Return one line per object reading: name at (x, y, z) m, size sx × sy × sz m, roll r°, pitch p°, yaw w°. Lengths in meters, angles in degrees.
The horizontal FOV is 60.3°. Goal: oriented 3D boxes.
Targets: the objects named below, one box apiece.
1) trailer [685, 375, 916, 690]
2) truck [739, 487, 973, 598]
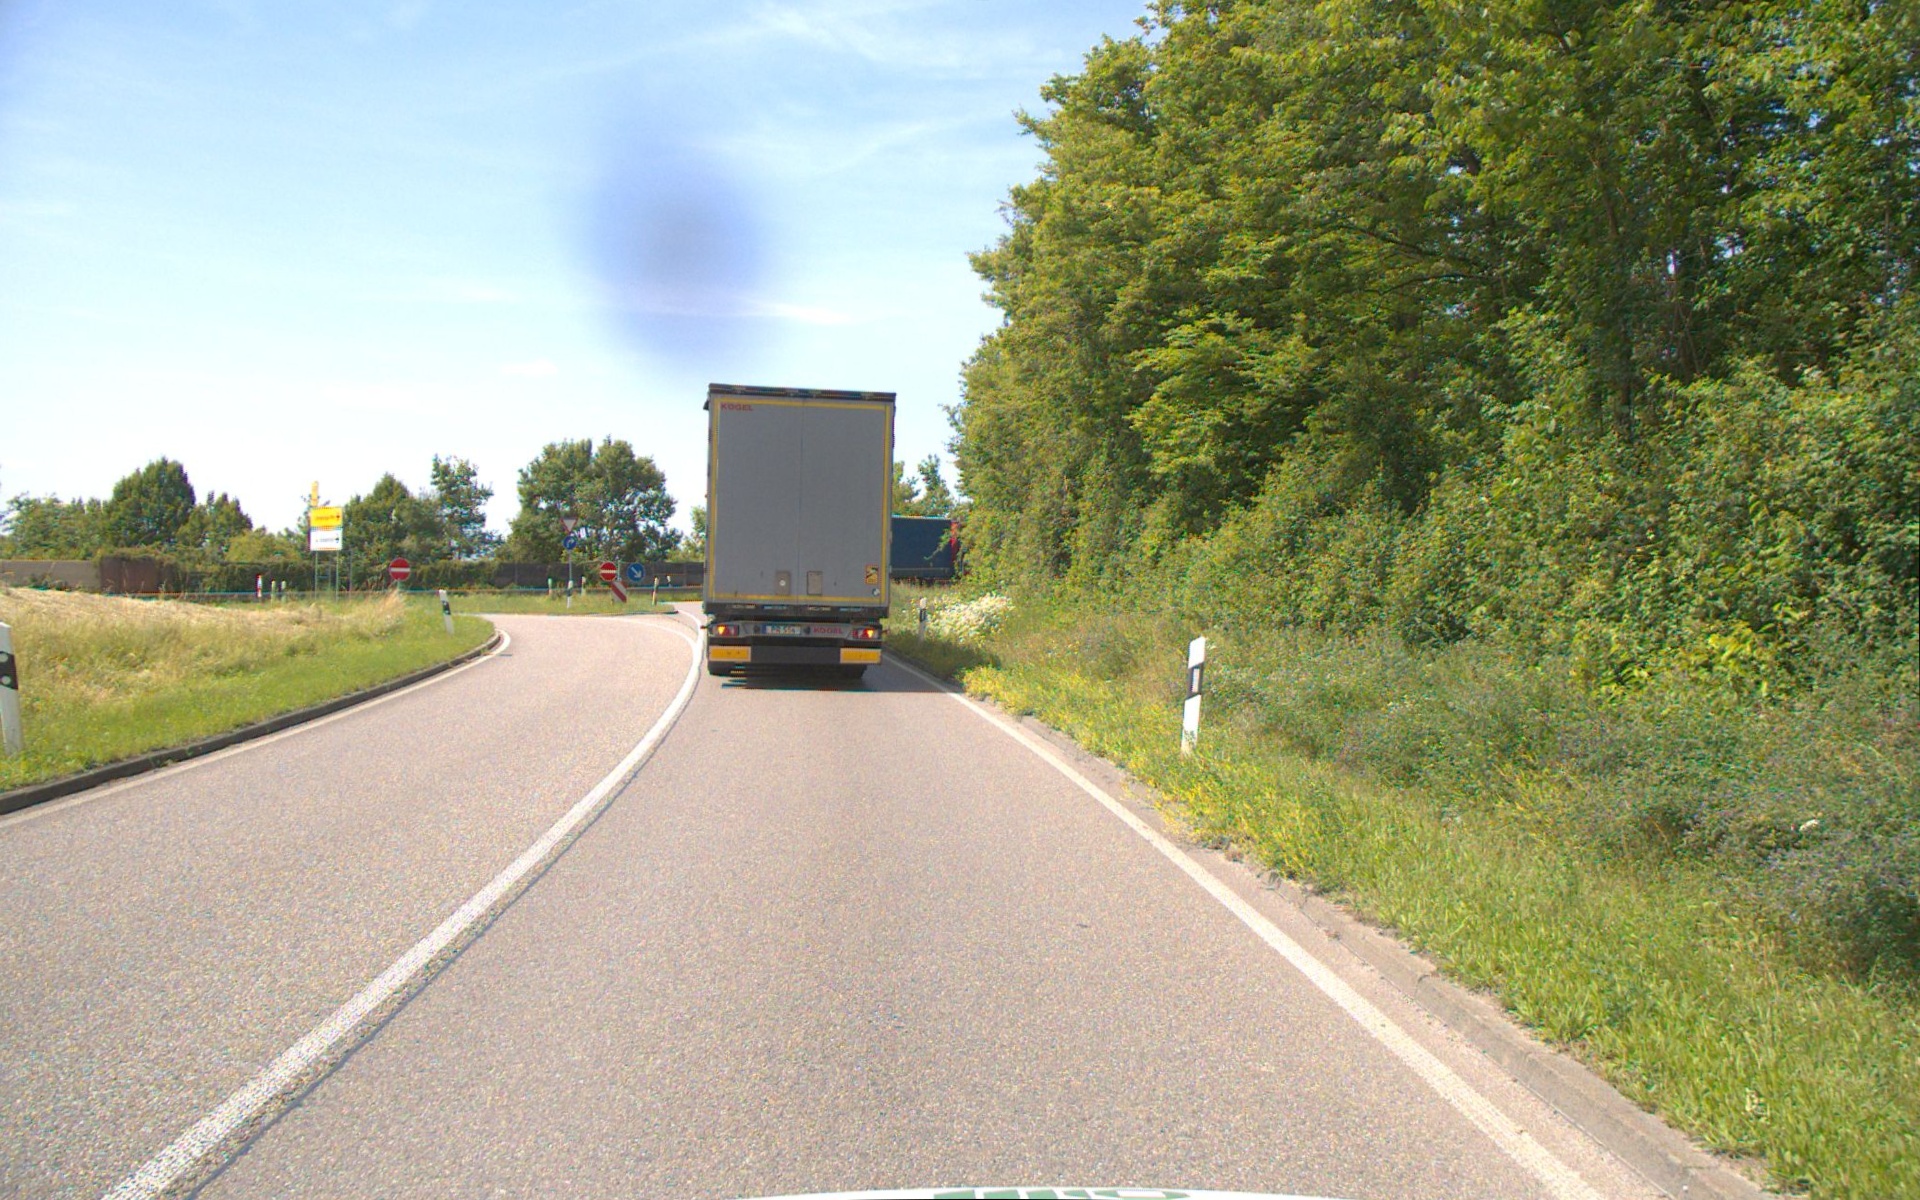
trailer at (-2.885, -0.982, 28.601) m, size 2.969 × 4.105 × 13.333 m, roll 1°, pitch 1°, yaw -7°
truck at (-4.593, -2.615, 80.210) m, size 3.753 × 4.827 × 16.188 m, roll 0°, pitch 1°, yaw 26°
